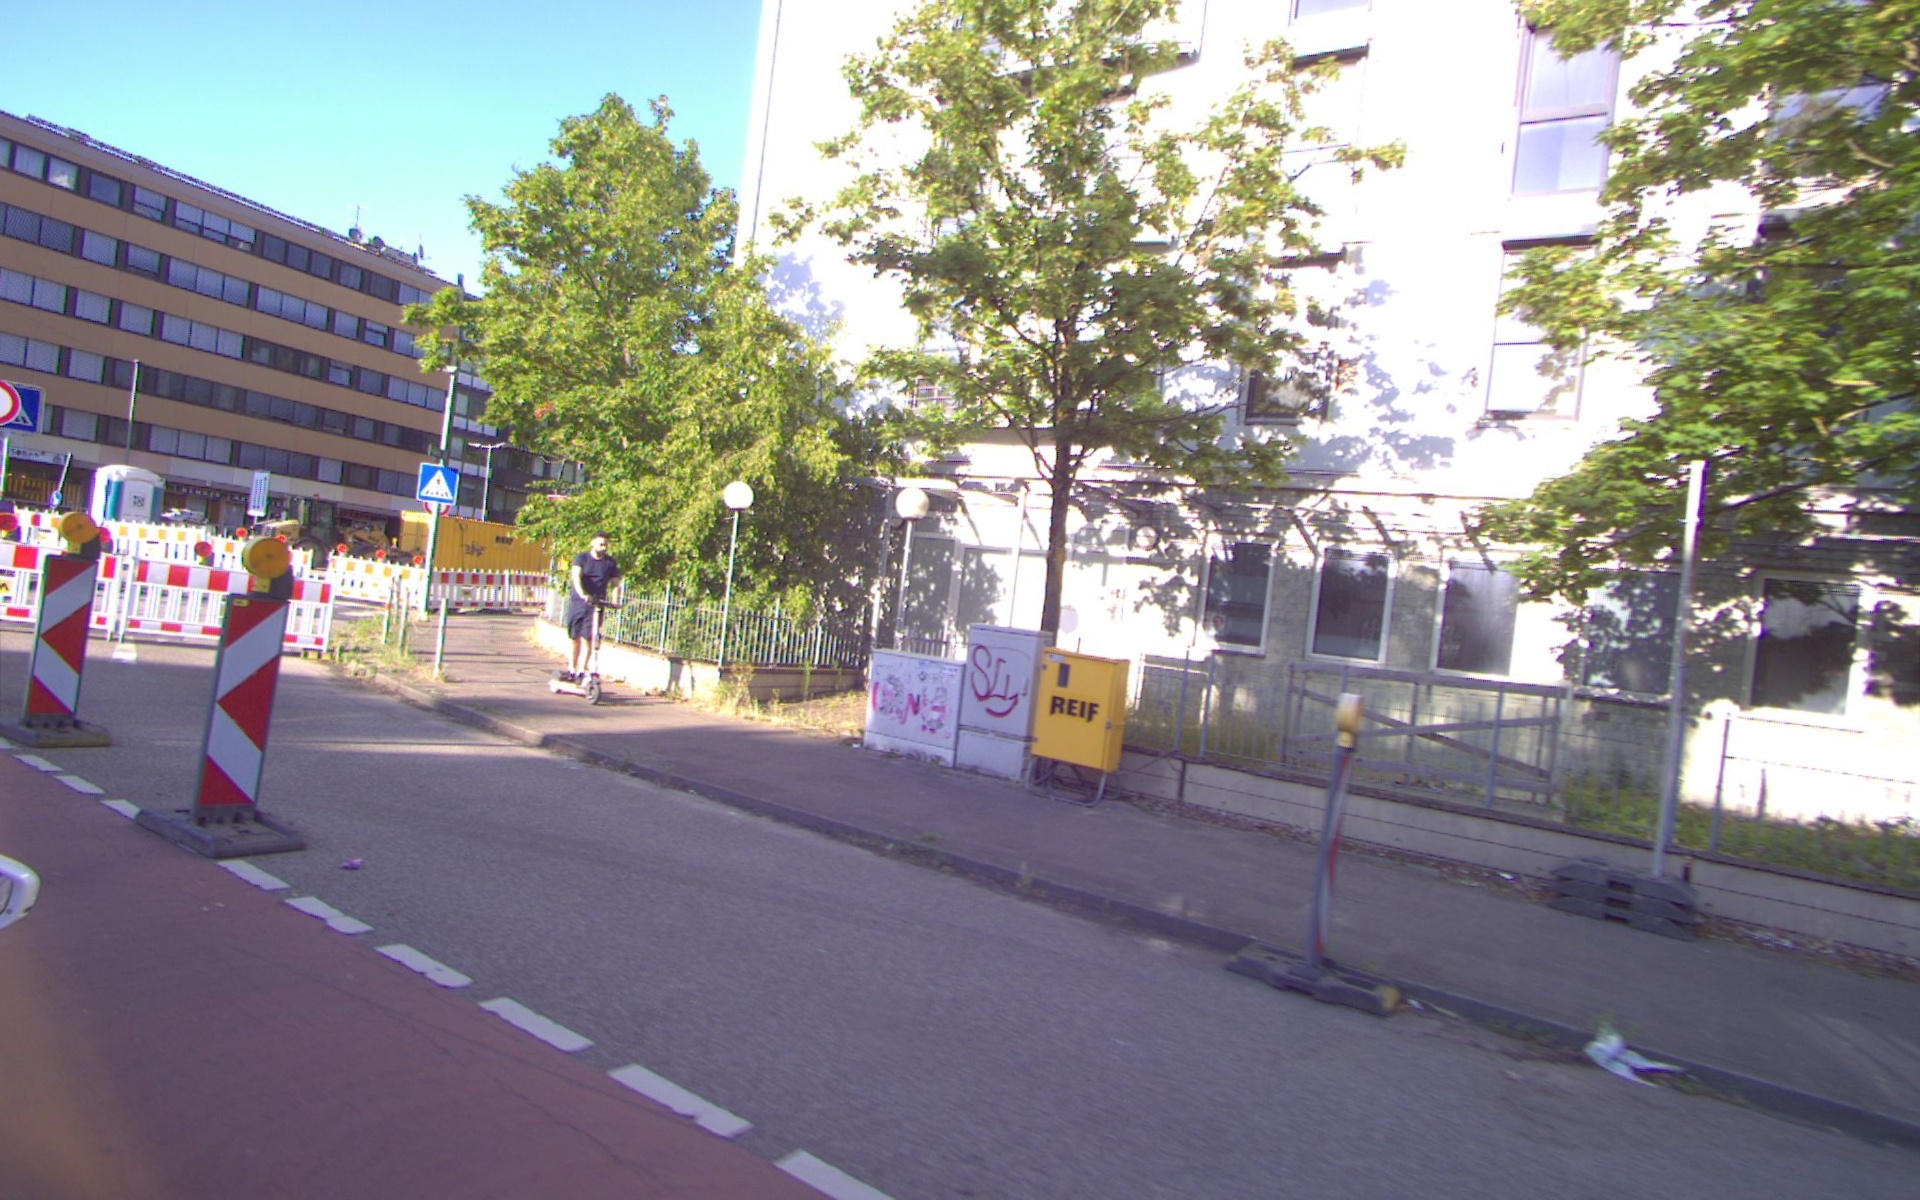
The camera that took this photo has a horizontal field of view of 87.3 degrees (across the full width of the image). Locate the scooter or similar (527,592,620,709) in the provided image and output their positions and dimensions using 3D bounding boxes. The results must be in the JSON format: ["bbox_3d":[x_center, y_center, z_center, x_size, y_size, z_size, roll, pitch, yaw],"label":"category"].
[{"bbox_3d":[-4.507,0.572,11.696,1.232,1.209,0.330,6,0,40],"label":"scooter or similar"}]

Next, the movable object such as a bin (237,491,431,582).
[{"bbox_3d":[-22.937,-2.262,37.109,2.505,2.520,5.360,7,-1,29],"label":"movable object such as a bin"}]

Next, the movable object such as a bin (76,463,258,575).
[{"bbox_3d":[-21.045,-2.105,26.817,1.503,2.412,3.333,7,-1,31],"label":"movable object such as a bin"}]

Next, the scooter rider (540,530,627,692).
[{"bbox_3d":[-4.403,0.139,11.778,0.479,1.811,0.614,7,0,38],"label":"scooter rider"}]

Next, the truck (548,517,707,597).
[{"bbox_3d":[-16.392,-2.051,50.228,2.760,2.933,7.347,7,-1,30],"label":"truck"}]

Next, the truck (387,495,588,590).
[{"bbox_3d":[-19.986,-2.332,43.082,2.760,2.933,7.348,7,-1,29],"label":"truck"}]
